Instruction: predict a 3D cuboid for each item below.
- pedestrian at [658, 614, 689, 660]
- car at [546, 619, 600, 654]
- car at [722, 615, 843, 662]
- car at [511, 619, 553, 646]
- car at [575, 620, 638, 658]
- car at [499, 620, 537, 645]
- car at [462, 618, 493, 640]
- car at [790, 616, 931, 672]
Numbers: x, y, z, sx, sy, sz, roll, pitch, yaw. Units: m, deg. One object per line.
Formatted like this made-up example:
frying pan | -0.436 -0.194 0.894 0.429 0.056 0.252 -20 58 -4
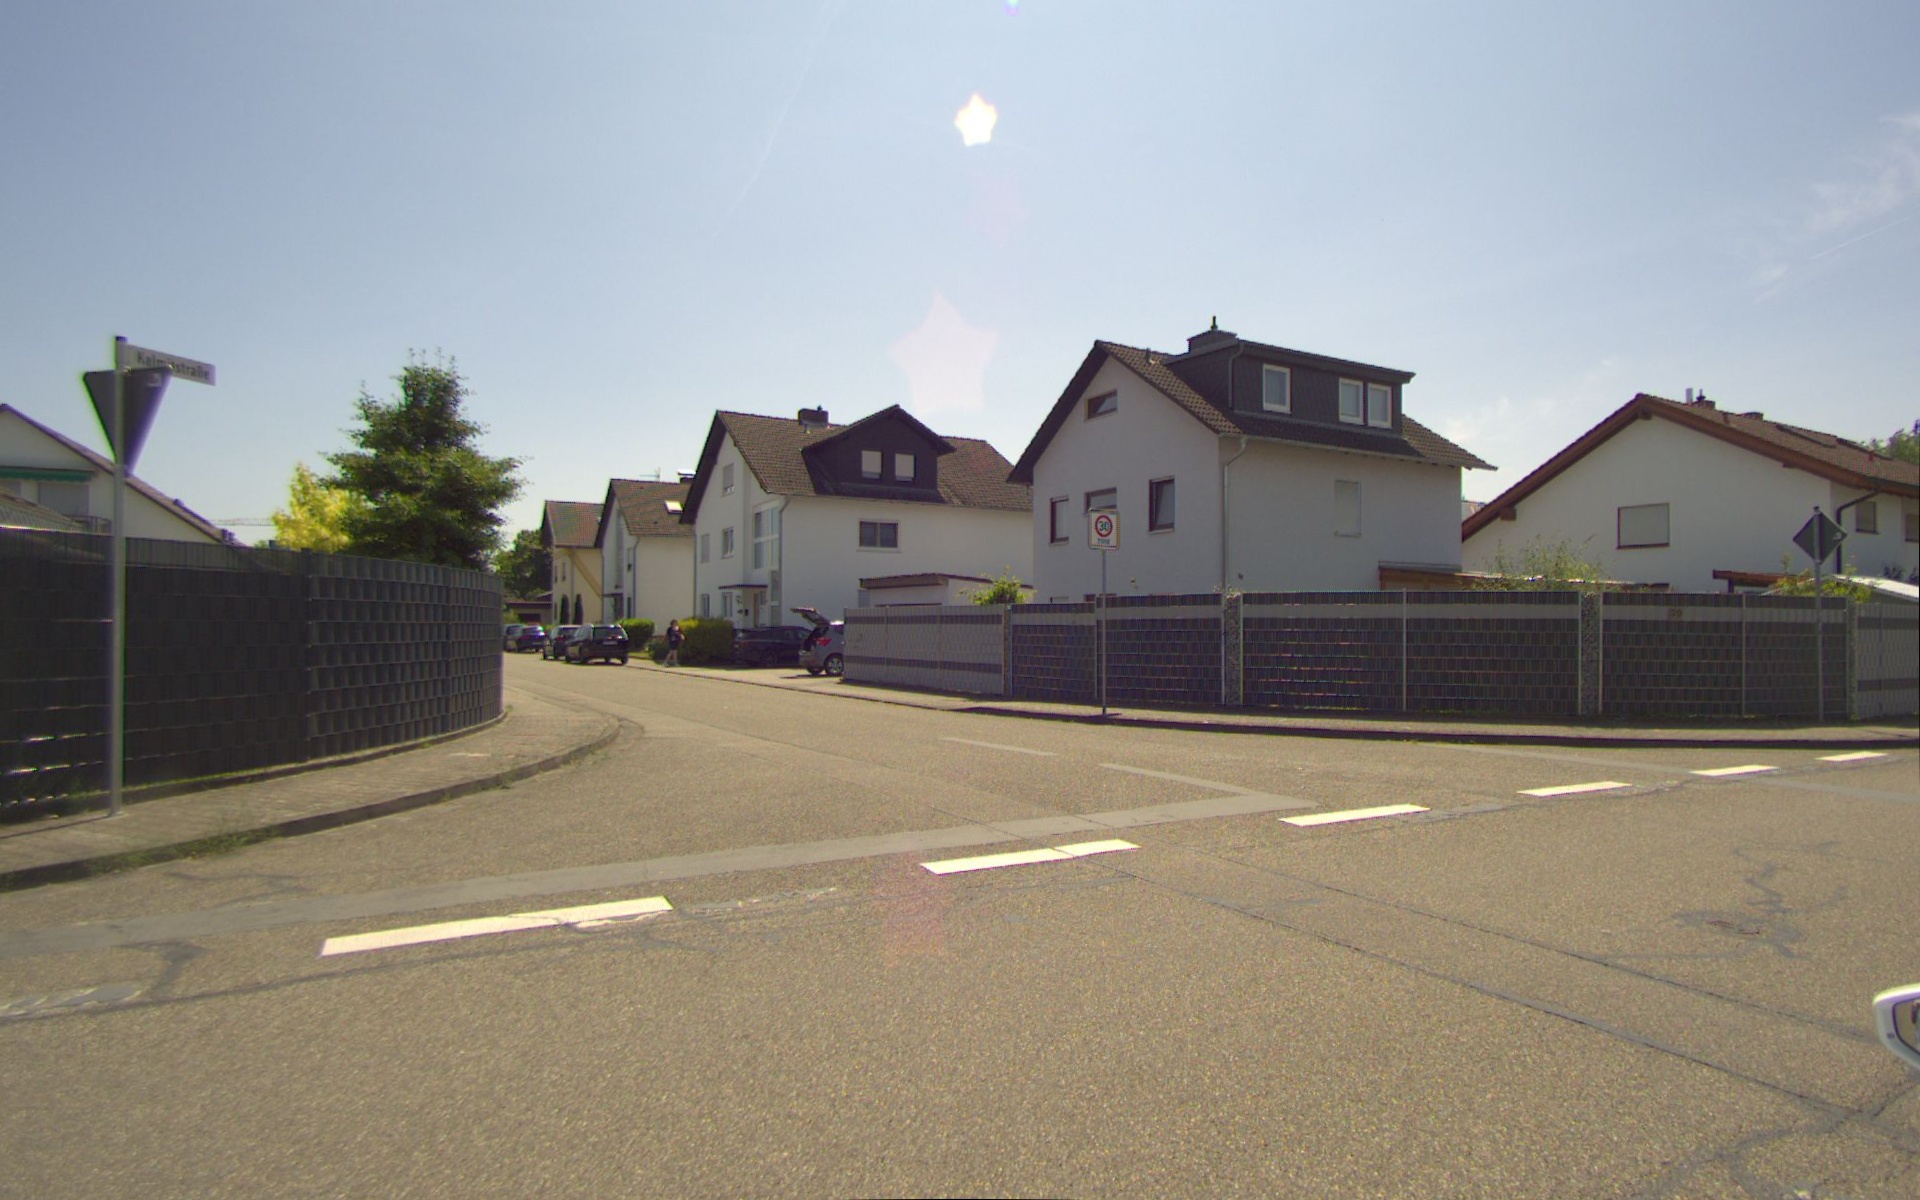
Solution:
pedestrian | -10.415 1.339 36.519 0.848 1.648 0.664 0 -1 27
car | -17.048 1.583 44.170 1.751 1.432 3.971 1 -1 -28
car | -6.398 1.388 36.351 3.953 1.617 1.759 1 -1 -30
car | -23.471 1.760 55.041 1.751 1.432 3.971 1 -1 -28
car | -13.896 1.489 39.315 1.751 1.432 3.971 1 -1 -28
car | -26.098 1.881 59.282 1.751 1.432 3.971 1 -1 -28
car | -33.041 1.984 68.790 1.751 1.432 3.971 1 -1 -28
car | -3.022 1.337 30.780 3.952 1.617 1.759 1 -1 -30
